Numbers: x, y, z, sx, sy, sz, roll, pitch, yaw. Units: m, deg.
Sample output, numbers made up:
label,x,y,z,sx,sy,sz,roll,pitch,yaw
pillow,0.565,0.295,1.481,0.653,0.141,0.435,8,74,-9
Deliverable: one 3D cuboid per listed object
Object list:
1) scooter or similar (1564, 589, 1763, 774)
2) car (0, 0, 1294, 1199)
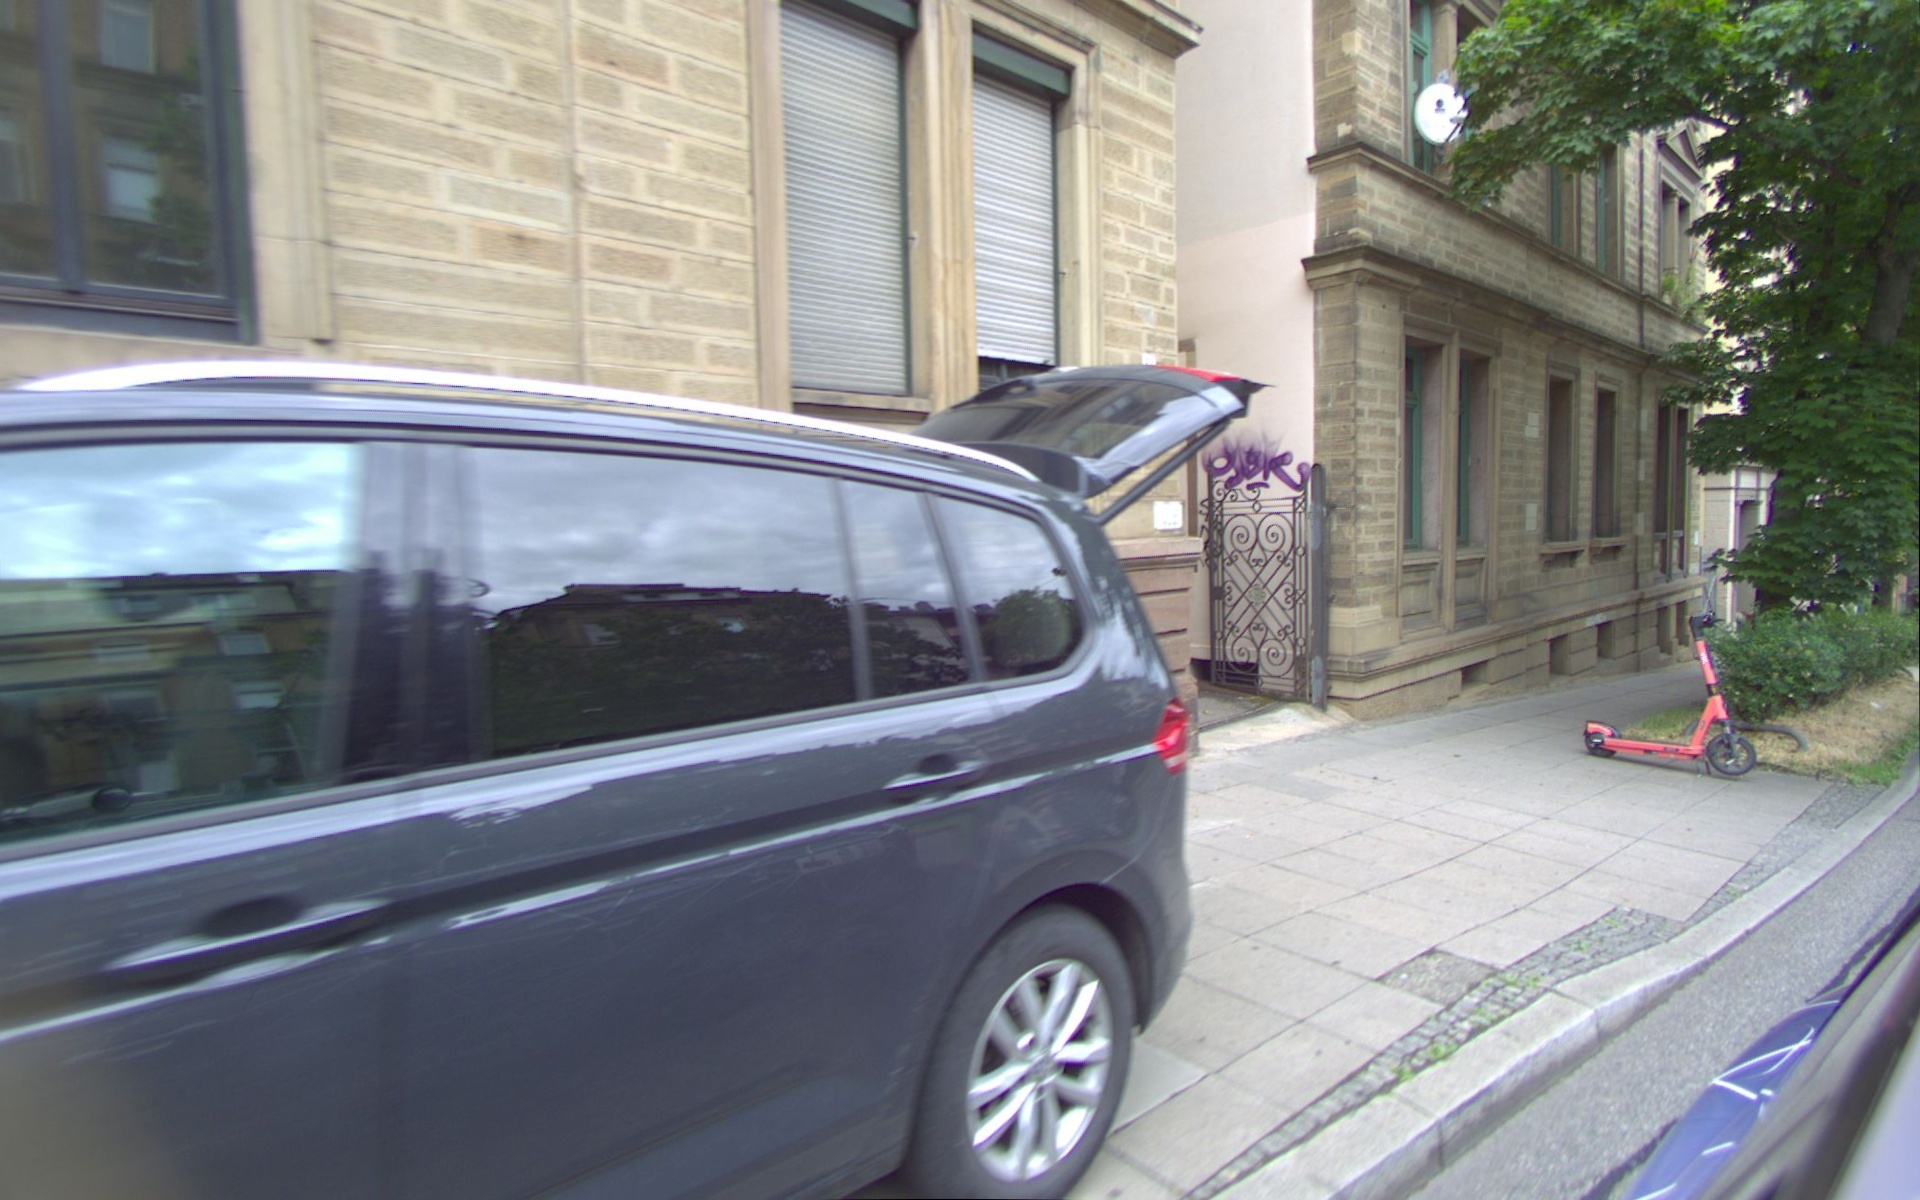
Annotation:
label,x,y,z,sx,sy,sz,roll,pitch,yaw
scooter or similar,5.697,0.607,8.223,1.194,1.288,0.621,6,5,39
car,-1.356,0.162,1.935,4.233,1.732,1.861,0,3,-41
